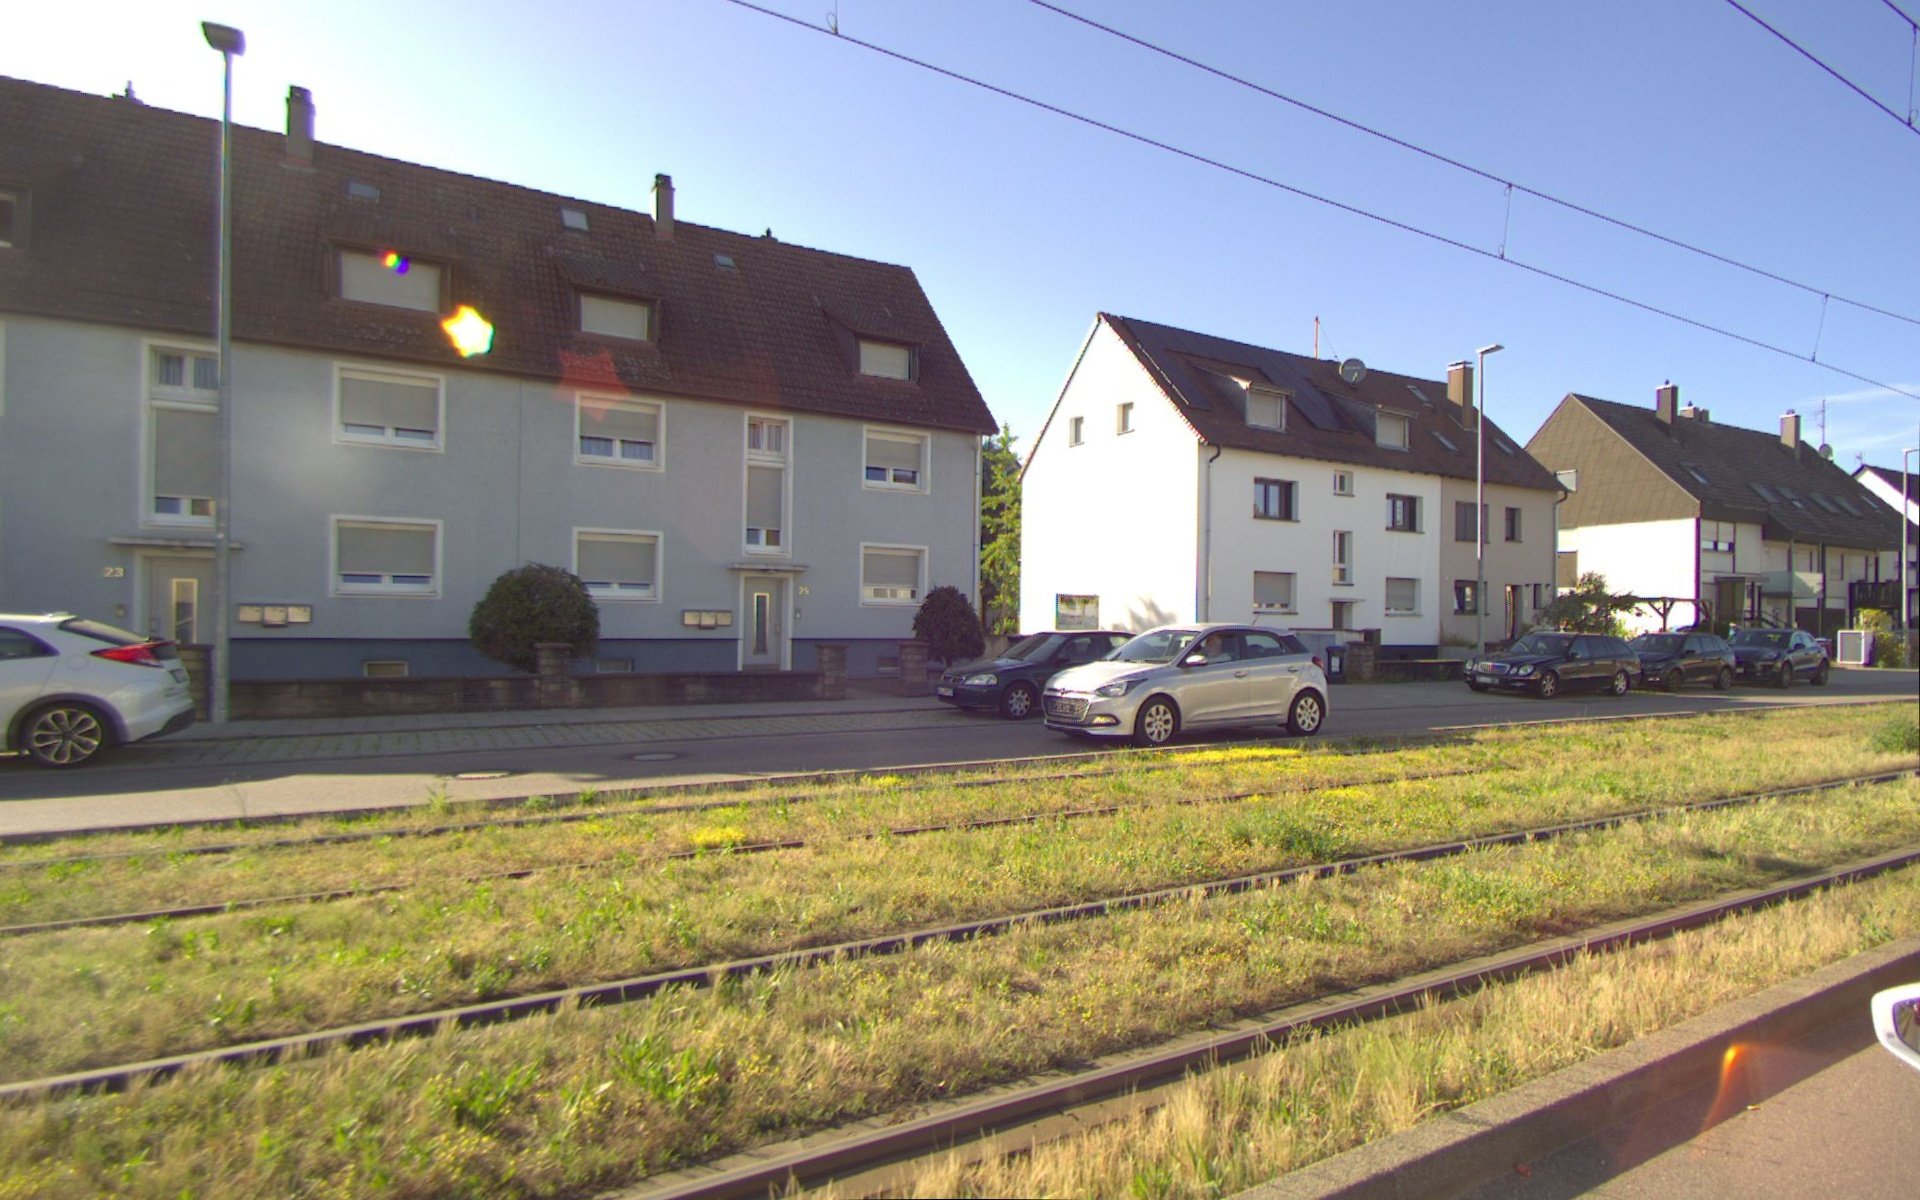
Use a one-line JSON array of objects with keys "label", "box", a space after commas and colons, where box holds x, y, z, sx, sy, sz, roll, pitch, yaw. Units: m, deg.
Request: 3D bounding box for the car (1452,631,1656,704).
[{"label": "car", "box": [14.020, 1.529, 23.649, 4.818, 1.543, 1.870, 1, -1, -27]}]

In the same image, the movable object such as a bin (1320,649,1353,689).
[{"label": "movable object such as a bin", "box": [9.124, 1.672, 24.324, 0.696, 0.939, 0.386, 3, -2, -31]}]

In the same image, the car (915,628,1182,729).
[{"label": "car", "box": [1.487, 1.209, 16.552, 4.115, 1.482, 1.783, 1, -1, -29]}]

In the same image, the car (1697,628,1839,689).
[{"label": "car", "box": [23.266, 1.612, 28.877, 4.760, 1.618, 1.793, 1, -1, -33]}]

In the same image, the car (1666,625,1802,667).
[{"label": "car", "box": [31.911, 1.851, 41.515, 1.740, 1.638, 4.142, 1, -2, -32]}]

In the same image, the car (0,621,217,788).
[{"label": "car", "box": [-9.867, 0.966, 9.634, 4.163, 1.538, 1.685, 1, -2, -29]}]

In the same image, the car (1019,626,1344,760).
[{"label": "car", "box": [2.909, 1.156, 12.987, 3.976, 1.510, 1.701, 3, -3, -29]}]

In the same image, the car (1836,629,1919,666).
[{"label": "car", "box": [42.062, 2.114, 45.053, 1.717, 1.589, 3.876, 1, -1, -35]}]

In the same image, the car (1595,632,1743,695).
[{"label": "car", "box": [18.516, 1.610, 26.196, 4.149, 1.494, 1.514, 1, -1, -29]}]
